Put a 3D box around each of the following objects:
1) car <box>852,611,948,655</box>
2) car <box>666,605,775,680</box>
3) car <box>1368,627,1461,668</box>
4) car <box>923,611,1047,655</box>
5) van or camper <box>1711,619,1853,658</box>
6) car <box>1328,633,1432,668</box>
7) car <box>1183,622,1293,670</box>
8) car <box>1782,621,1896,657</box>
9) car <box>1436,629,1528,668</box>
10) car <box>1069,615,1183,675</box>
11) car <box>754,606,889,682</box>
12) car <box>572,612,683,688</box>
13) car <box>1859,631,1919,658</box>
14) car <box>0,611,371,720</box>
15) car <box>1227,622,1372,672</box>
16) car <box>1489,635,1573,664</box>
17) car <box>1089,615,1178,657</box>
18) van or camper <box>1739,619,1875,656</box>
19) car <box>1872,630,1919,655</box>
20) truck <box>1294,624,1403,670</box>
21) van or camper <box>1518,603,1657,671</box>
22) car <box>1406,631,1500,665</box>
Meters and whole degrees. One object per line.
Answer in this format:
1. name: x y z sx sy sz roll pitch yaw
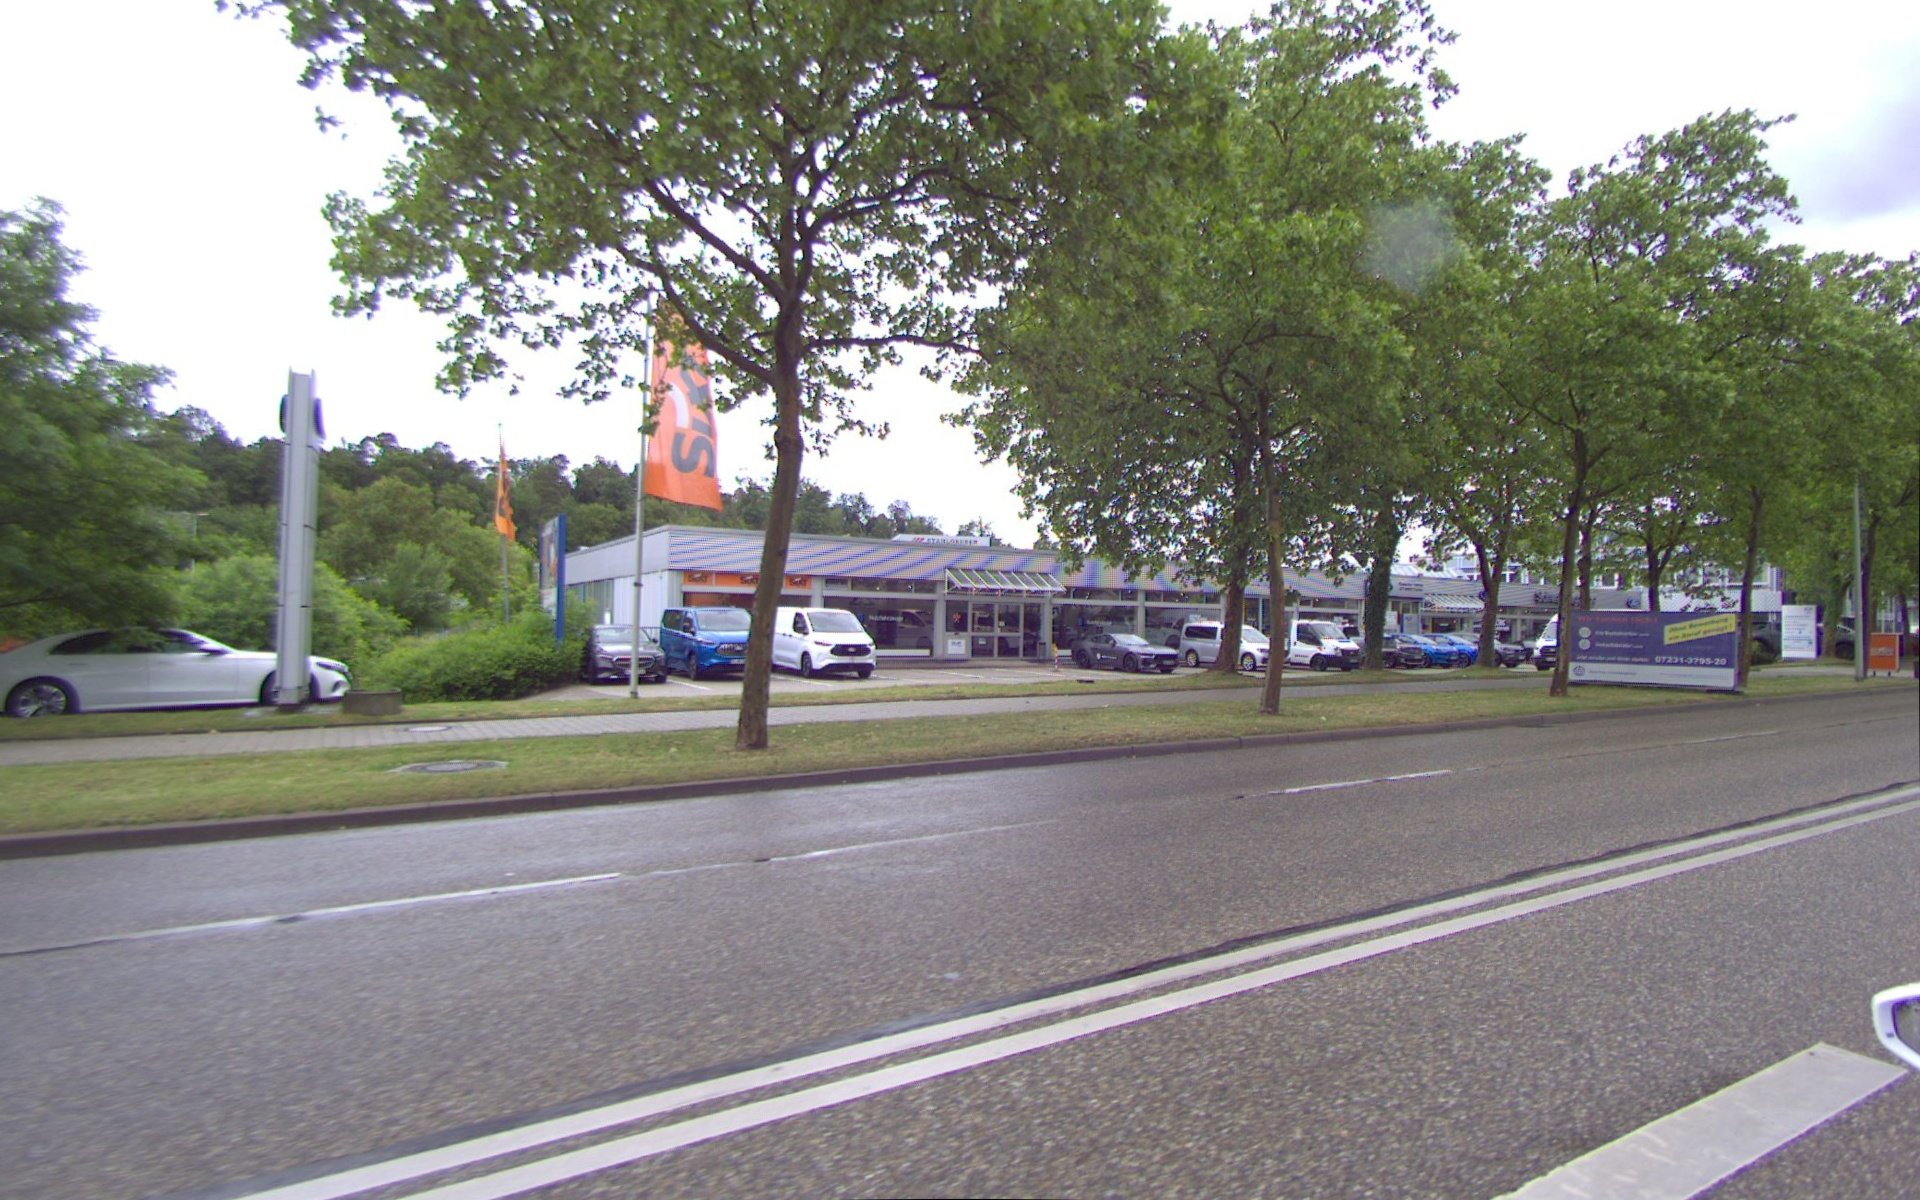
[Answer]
1. car: -2.678 1.455 44.828 3.816 1.767 1.909 2 0 29
2. car: -6.699 1.133 27.827 1.940 1.914 3.970 1 -2 -29
3. car: 20.886 2.133 46.345 1.834 1.790 3.988 1 -1 -15
4. car: 1.142 1.506 46.694 5.257 1.862 2.385 0 -1 32
5. van or camper: 40.360 1.854 49.541 5.211 1.845 2.260 -1 -2 34
6. car: 18.779 2.230 45.071 2.008 1.480 3.973 1 -2 -27
7. car: 10.844 1.751 39.377 1.862 1.790 3.965 1 -2 -32
8. car: 46.674 2.065 53.474 4.397 1.840 1.992 -1 -2 37
9. car: 25.332 2.320 48.882 1.833 1.790 3.989 1 -1 -14
10. car: 5.870 1.569 35.922 1.862 2.040 3.965 1 -2 -32
11. car: -4.210 1.262 29.755 2.106 2.040 5.018 1 -2 -32
12. car: -8.818 1.257 26.428 2.041 1.837 4.108 1 -2 -29
13. car: 61.229 2.871 64.890 4.496 1.617 1.992 0 -1 38
14. car: -12.372 0.972 15.937 5.188 1.516 2.107 1 -2 -32
15. car: 13.866 1.870 41.327 2.390 1.928 5.344 1 -2 -33
16. car: 30.625 2.638 53.984 1.574 1.487 3.892 1 -1 -18
17. car: 7.865 1.619 45.794 1.844 1.790 3.966 1 -2 -32
18. van or camper: 43.906 1.939 52.268 5.290 1.792 2.098 -1 -5 37
19. car: 63.716 2.846 66.877 4.164 1.674 2.006 -2 -3 36
20. truck: 16.670 1.987 43.257 1.984 1.862 3.954 1 -2 -39
21. van or camper: 24.990 1.441 39.933 6.326 2.503 1.984 1 0 -31
22. car: 23.217 2.226 47.459 1.834 1.540 3.987 1 -1 -16
